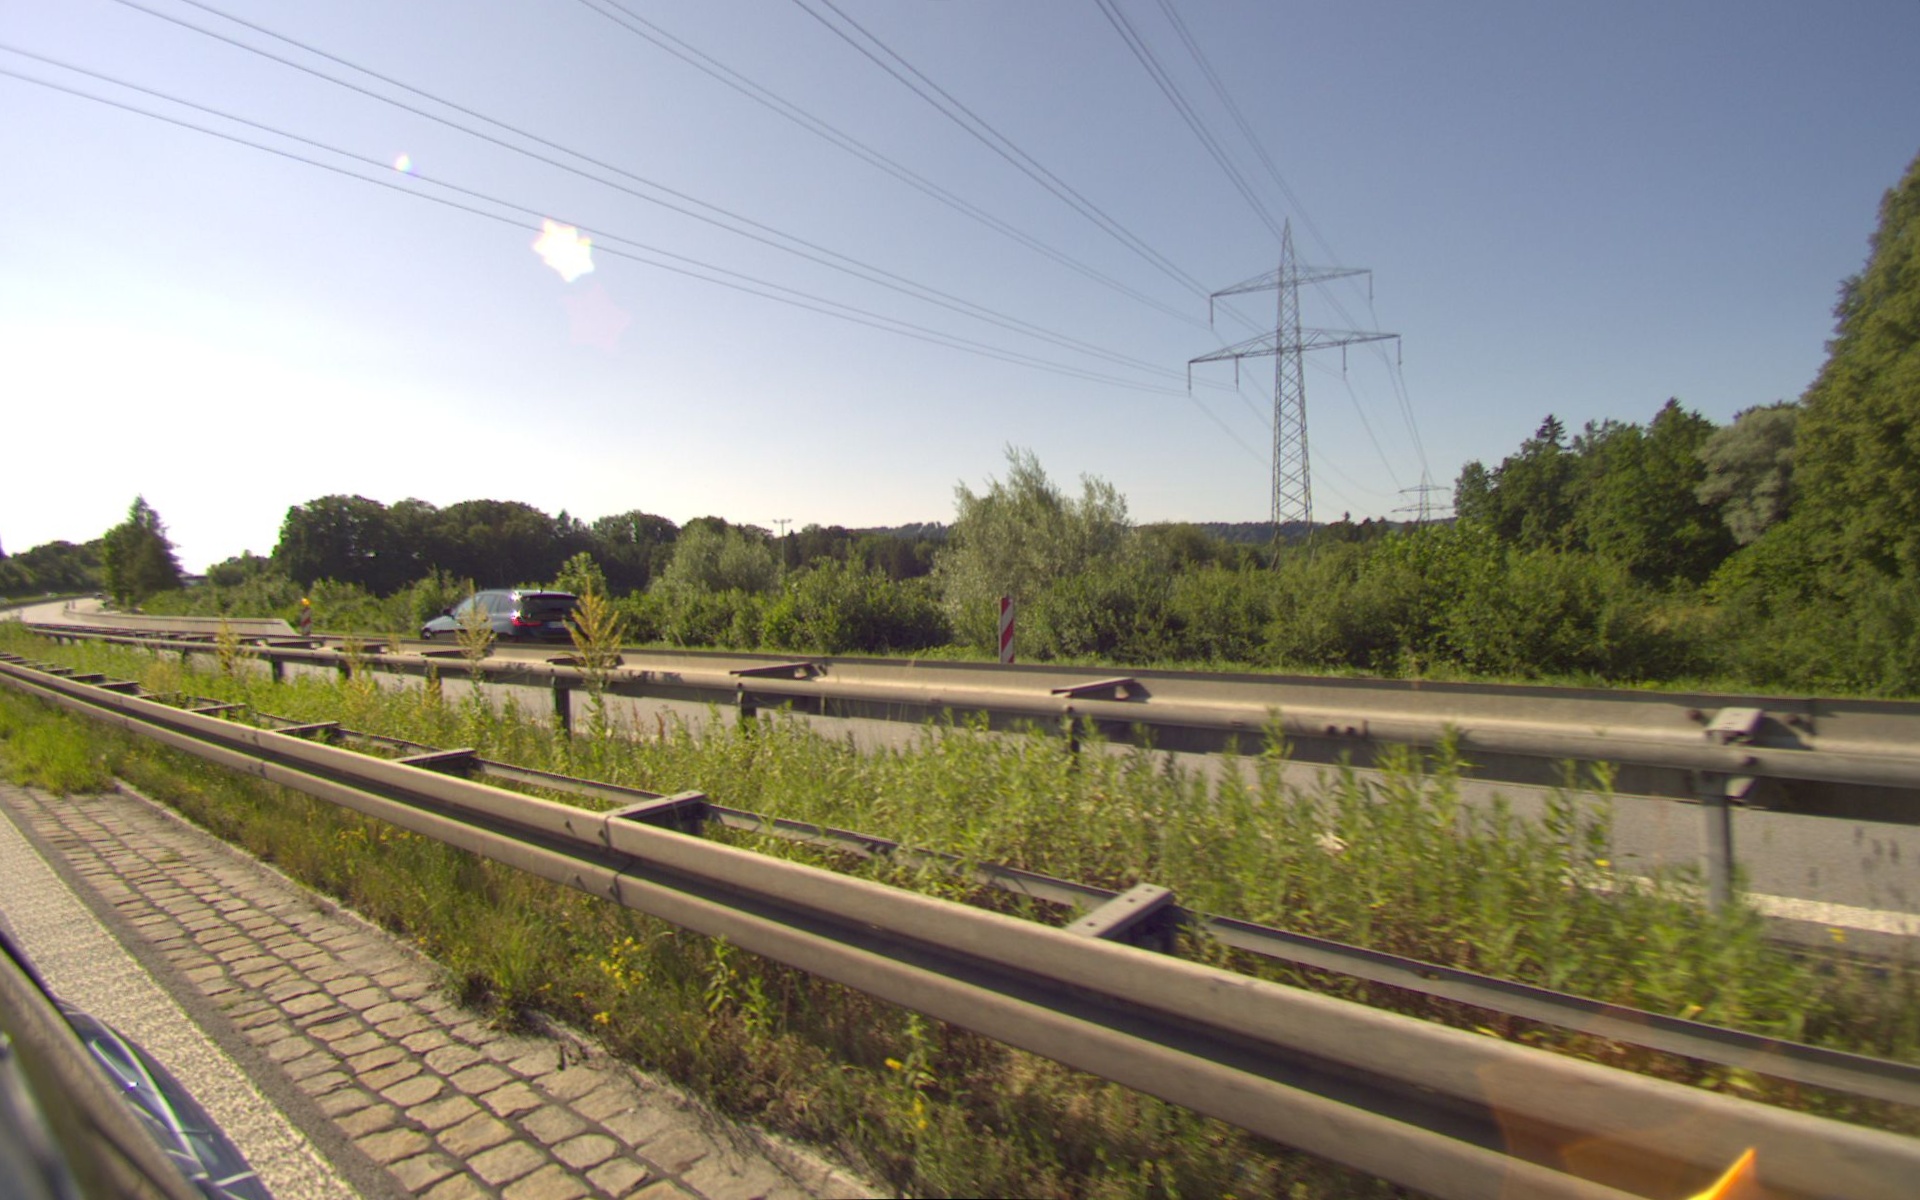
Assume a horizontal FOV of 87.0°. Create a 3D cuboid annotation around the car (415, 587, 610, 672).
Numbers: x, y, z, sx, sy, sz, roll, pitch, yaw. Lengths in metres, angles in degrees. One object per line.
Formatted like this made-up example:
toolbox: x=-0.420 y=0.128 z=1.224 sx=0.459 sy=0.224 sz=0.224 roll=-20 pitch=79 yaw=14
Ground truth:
car: x=-8.555 y=0.541 z=19.183 sx=4.267 sy=1.440 sz=1.758 roll=-1 pitch=-1 yaw=41
